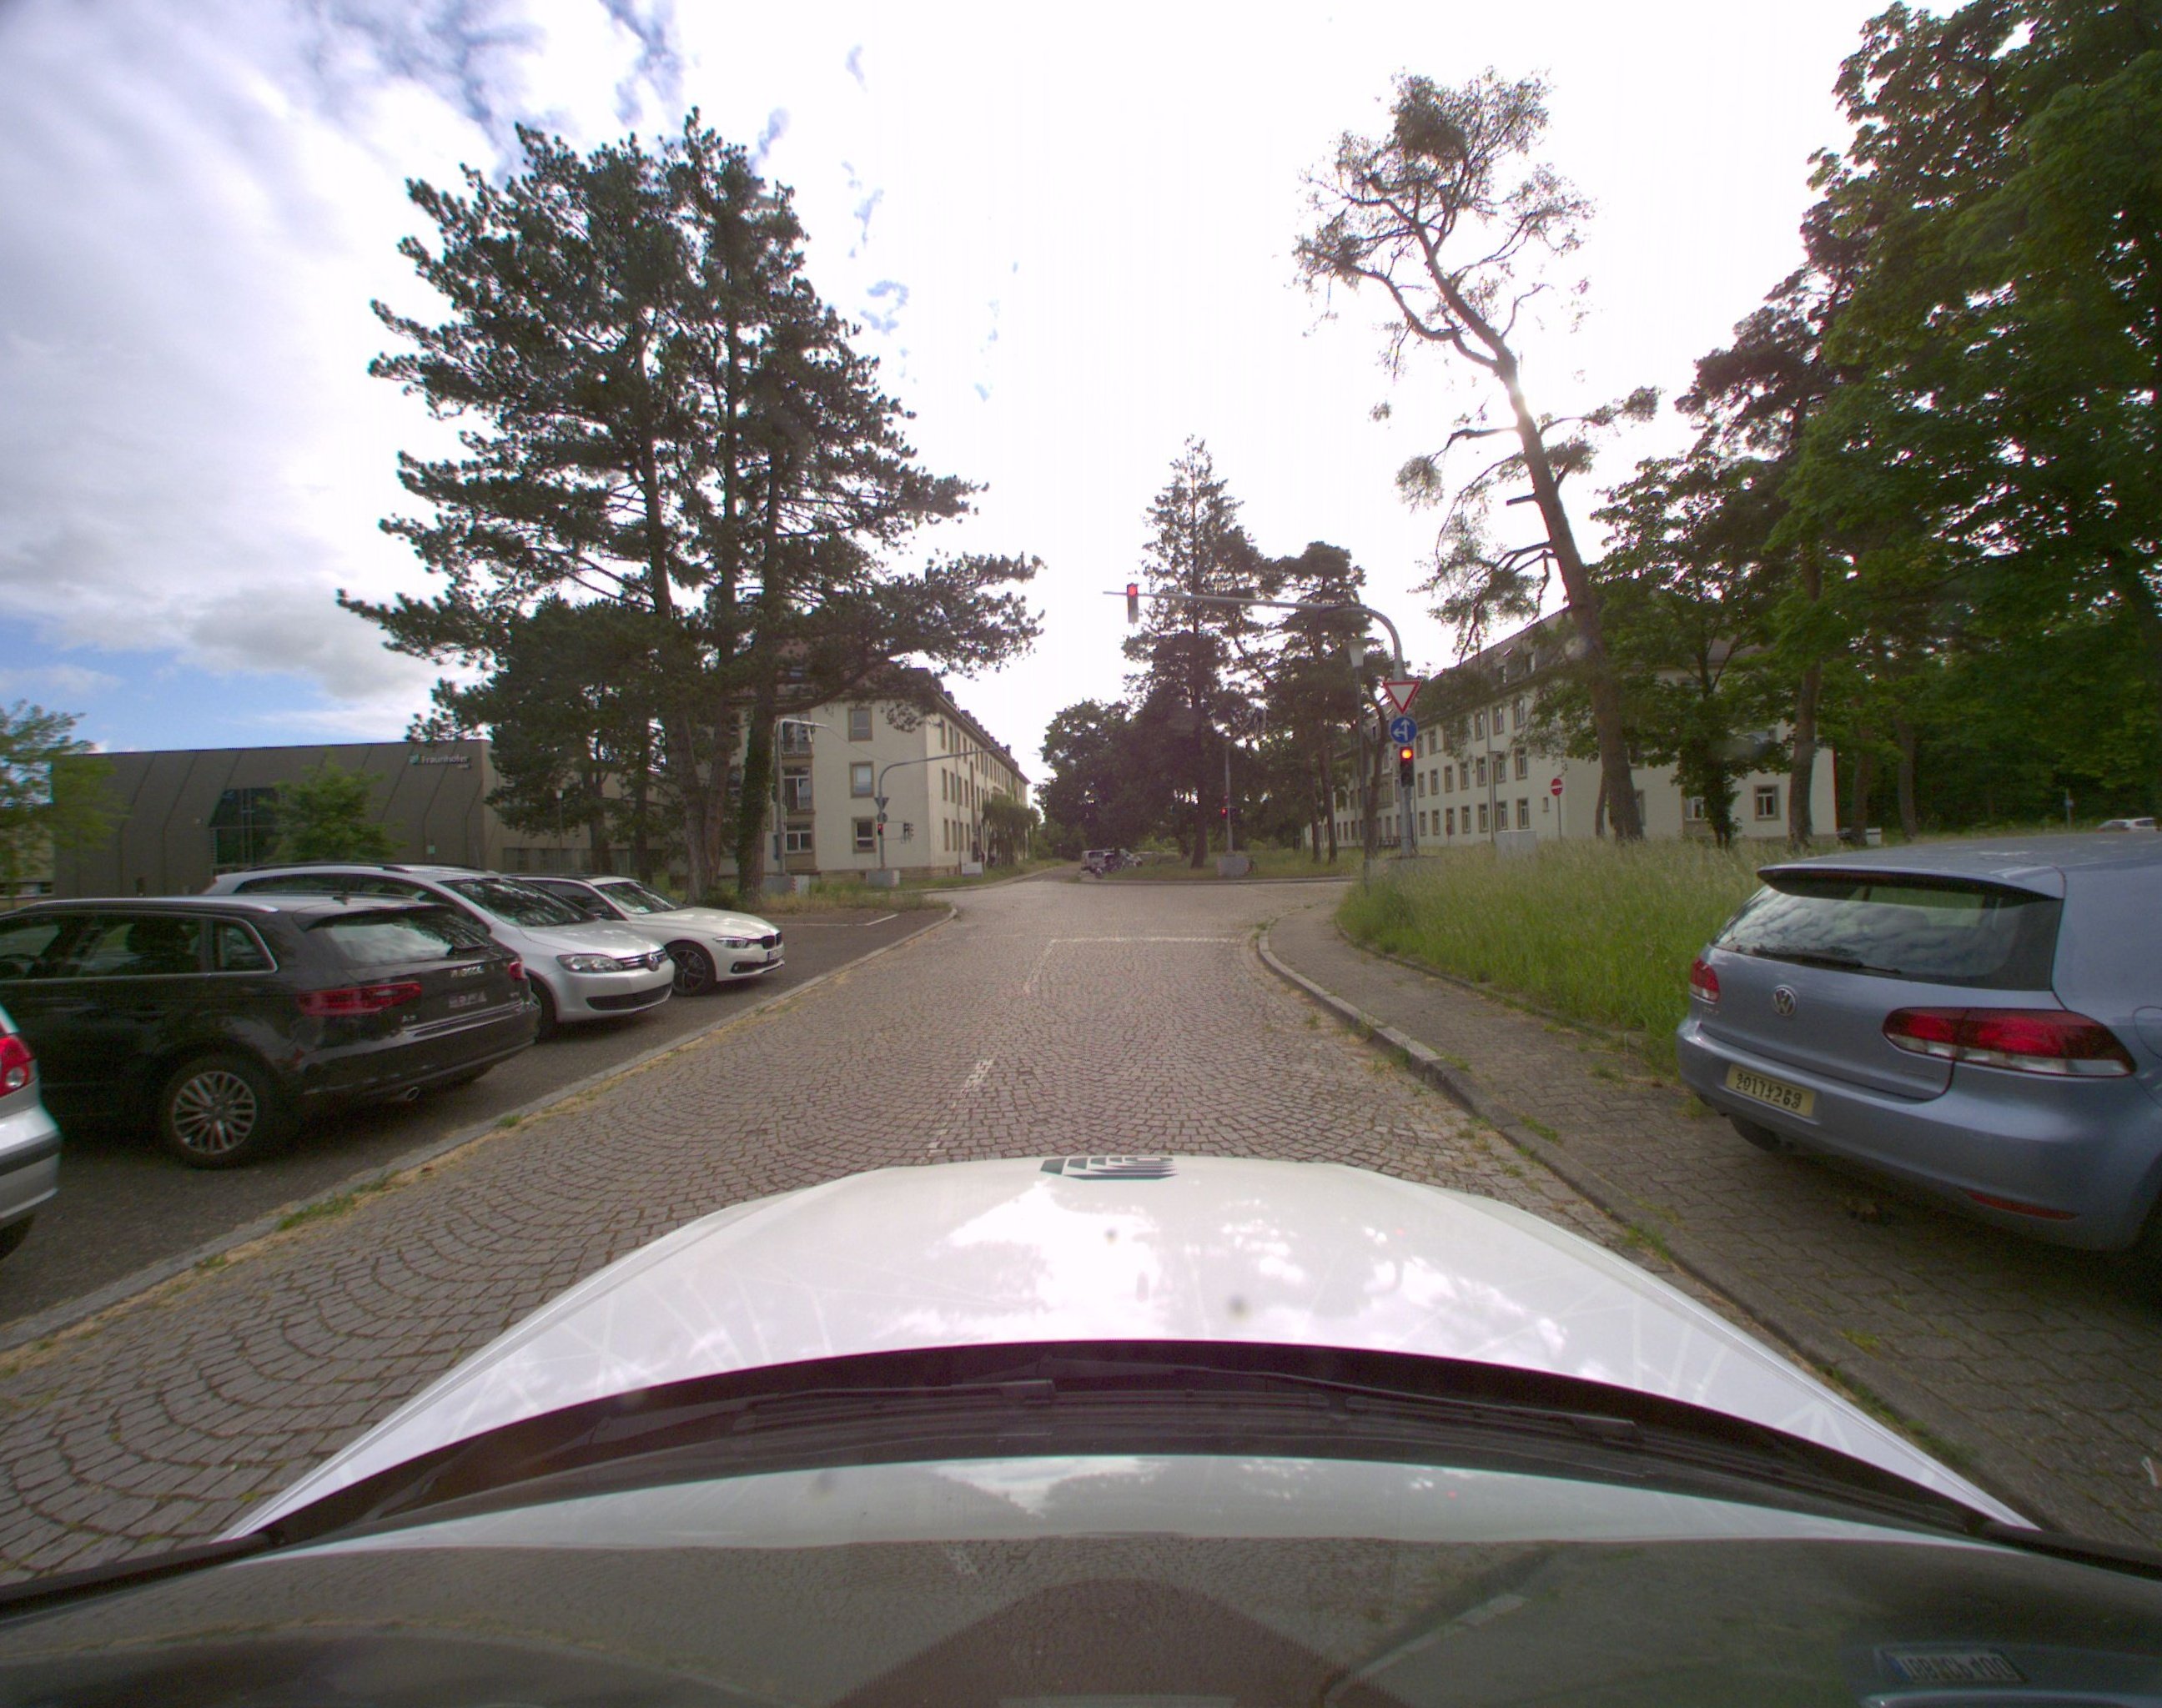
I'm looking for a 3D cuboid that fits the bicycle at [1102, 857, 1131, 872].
[{"bbox_3d":[2.577,0.760,59.199,1.964,1.069,0.583,-2,0,-24],"label":"bicycle"}]

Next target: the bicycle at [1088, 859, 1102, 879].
[{"bbox_3d":[0.840,0.899,48.812,0.602,1.132,1.958,-2,0,-4],"label":"bicycle"}]

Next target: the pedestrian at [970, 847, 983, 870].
[{"bbox_3d":[-8.752,0.378,67.966,0.779,1.837,0.734,-2,0,-30],"label":"pedestrian"}]

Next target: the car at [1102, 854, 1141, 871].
[{"bbox_3d":[3.301,0.697,66.711,3.000,1.268,1.533,-3,0,-5],"label":"car"}]

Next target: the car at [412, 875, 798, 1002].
[{"bbox_3d":[-5.898,1.018,10.426,3.934,1.421,1.650,0,0,0],"label":"car"}]

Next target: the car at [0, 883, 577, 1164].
[{"bbox_3d":[-5.571,0.935,5.135,3.736,1.428,1.581,0,0,-2],"label":"car"}]

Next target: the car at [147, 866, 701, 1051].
[{"bbox_3d":[-6.056,0.917,7.892,3.937,1.563,1.649,0,0,-2],"label":"car"}]

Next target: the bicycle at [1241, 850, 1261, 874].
[{"bbox_3d":[8.319,0.379,39.838,0.584,1.106,1.962,-2,0,1],"label":"bicycle"}]

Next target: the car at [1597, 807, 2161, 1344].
[{"bbox_3d":[4.520,0.565,3.148,3.911,1.477,1.644,-4,0,3],"label":"car"}]

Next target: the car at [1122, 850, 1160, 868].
[{"bbox_3d":[5.415,0.447,73.973,3.223,1.416,1.724,-3,0,-2],"label":"car"}]

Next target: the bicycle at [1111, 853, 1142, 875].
[{"bbox_3d":[2.993,0.654,53.501,1.952,1.384,0.587,-2,0,-6],"label":"bicycle"}]

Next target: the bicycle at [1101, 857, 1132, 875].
[{"bbox_3d":[2.370,0.782,54.164,1.967,1.069,0.582,-2,0,-29],"label":"bicycle"}]

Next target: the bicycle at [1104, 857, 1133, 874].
[{"bbox_3d":[2.558,0.776,55.511,1.967,1.069,0.582,-2,0,-29],"label":"bicycle"}]

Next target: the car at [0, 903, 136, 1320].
[{"bbox_3d":[-5.739,0.936,2.502,3.693,1.479,1.581,0,0,-2],"label":"car"}]

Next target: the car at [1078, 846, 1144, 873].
[{"bbox_3d":[2.584,0.447,70.136,5.357,1.925,2.019,-4,0,-8],"label":"car"}]

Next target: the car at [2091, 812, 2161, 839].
[{"bbox_3d":[58.531,-1.566,44.734,3.930,1.421,1.652,0,0,4],"label":"car"}]

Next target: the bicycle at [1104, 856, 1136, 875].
[{"bbox_3d":[2.481,0.732,52.044,1.952,1.132,0.587,-2,0,-6],"label":"bicycle"}]

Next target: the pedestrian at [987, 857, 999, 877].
[{"bbox_3d":[-7.235,1.080,67.093,0.768,1.618,0.743,-3,0,12],"label":"pedestrian"}]

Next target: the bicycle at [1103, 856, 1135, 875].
[{"bbox_3d":[2.435,0.757,52.679,1.952,1.117,0.587,-2,0,-6],"label":"bicycle"}]
